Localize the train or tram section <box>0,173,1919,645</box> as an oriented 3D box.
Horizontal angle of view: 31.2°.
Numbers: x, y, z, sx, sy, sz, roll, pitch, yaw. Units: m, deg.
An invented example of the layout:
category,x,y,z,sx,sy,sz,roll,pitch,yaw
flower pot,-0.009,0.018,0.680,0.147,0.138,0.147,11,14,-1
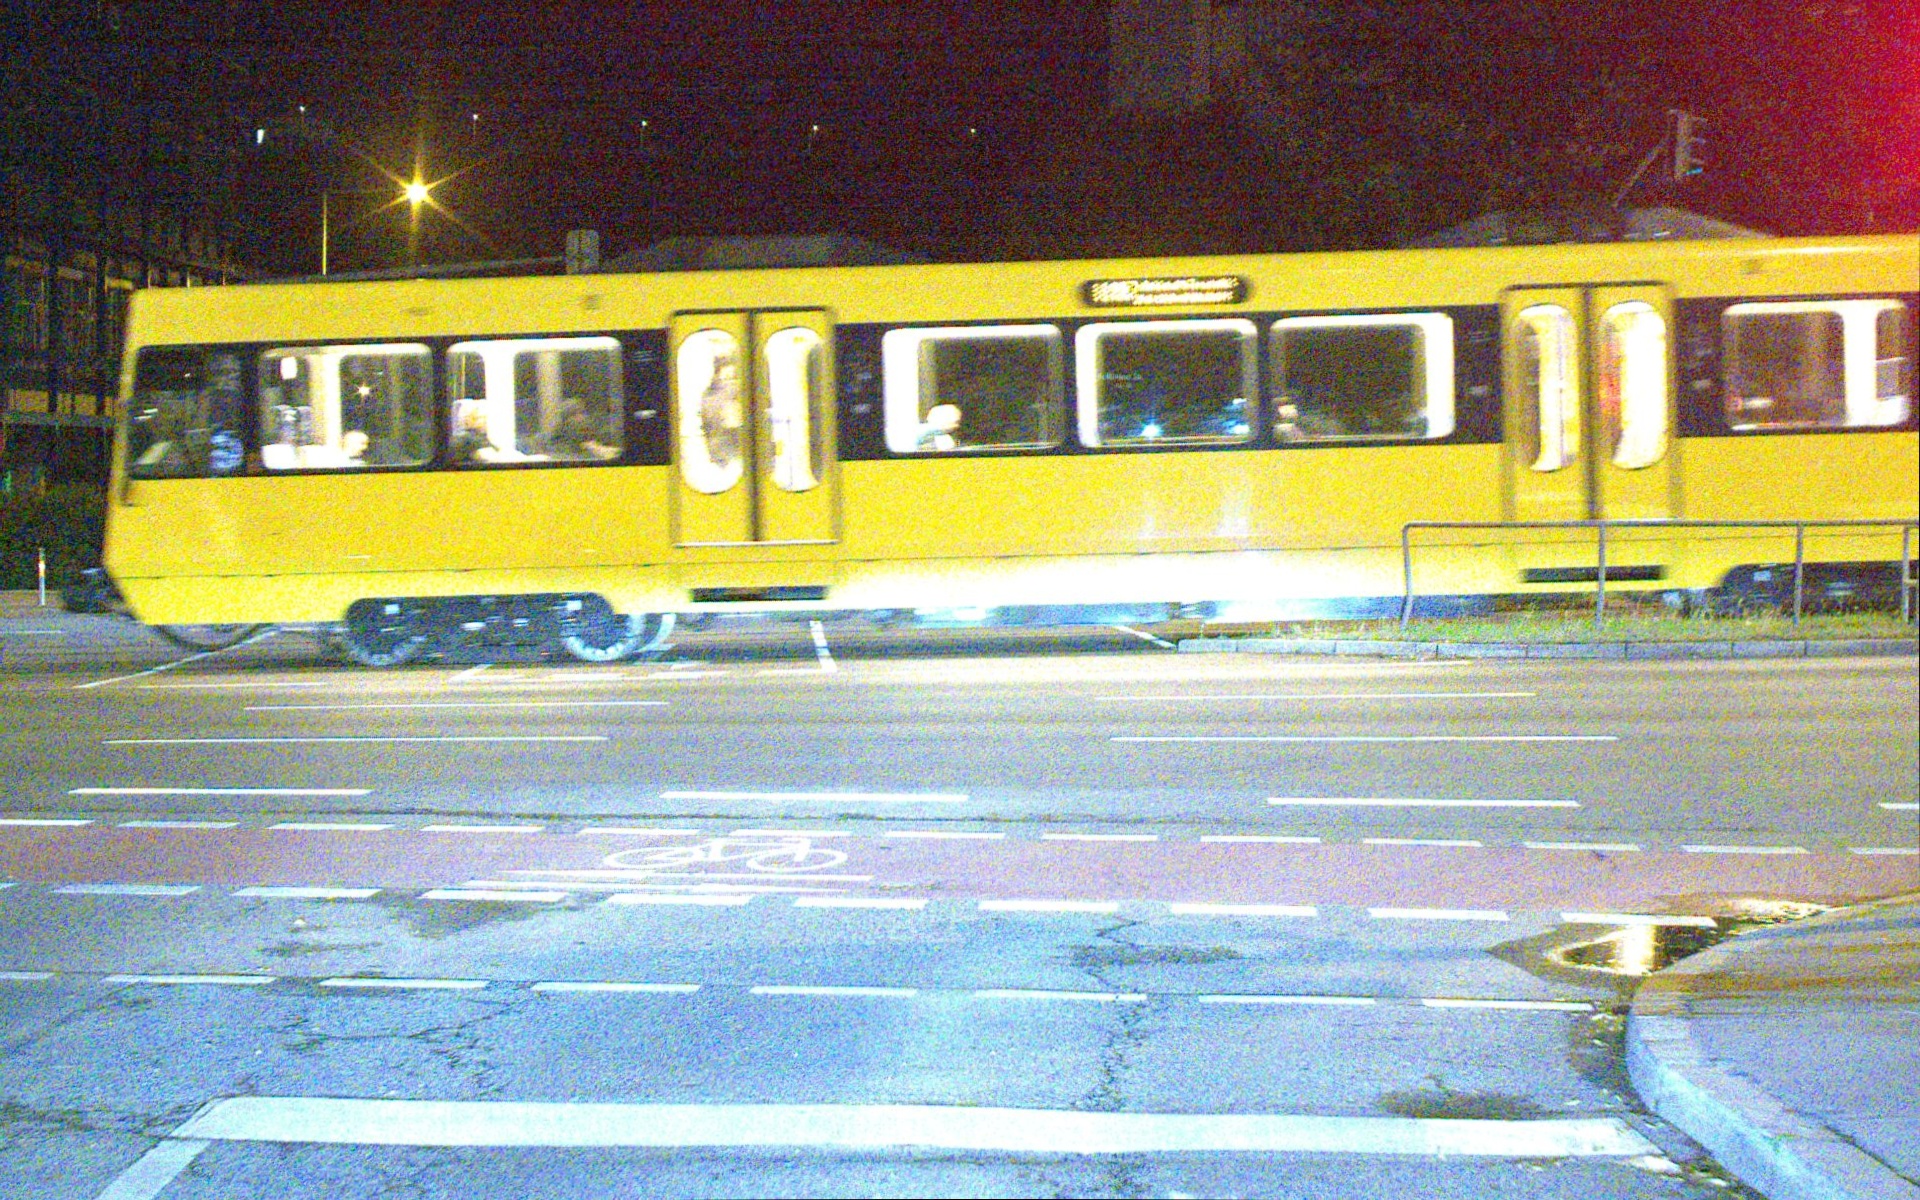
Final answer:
category,x,y,z,sx,sy,sz,roll,pitch,yaw
train or tram section,1.006,-1.659,31.110,19.796,3.848,2.940,-1,2,4
